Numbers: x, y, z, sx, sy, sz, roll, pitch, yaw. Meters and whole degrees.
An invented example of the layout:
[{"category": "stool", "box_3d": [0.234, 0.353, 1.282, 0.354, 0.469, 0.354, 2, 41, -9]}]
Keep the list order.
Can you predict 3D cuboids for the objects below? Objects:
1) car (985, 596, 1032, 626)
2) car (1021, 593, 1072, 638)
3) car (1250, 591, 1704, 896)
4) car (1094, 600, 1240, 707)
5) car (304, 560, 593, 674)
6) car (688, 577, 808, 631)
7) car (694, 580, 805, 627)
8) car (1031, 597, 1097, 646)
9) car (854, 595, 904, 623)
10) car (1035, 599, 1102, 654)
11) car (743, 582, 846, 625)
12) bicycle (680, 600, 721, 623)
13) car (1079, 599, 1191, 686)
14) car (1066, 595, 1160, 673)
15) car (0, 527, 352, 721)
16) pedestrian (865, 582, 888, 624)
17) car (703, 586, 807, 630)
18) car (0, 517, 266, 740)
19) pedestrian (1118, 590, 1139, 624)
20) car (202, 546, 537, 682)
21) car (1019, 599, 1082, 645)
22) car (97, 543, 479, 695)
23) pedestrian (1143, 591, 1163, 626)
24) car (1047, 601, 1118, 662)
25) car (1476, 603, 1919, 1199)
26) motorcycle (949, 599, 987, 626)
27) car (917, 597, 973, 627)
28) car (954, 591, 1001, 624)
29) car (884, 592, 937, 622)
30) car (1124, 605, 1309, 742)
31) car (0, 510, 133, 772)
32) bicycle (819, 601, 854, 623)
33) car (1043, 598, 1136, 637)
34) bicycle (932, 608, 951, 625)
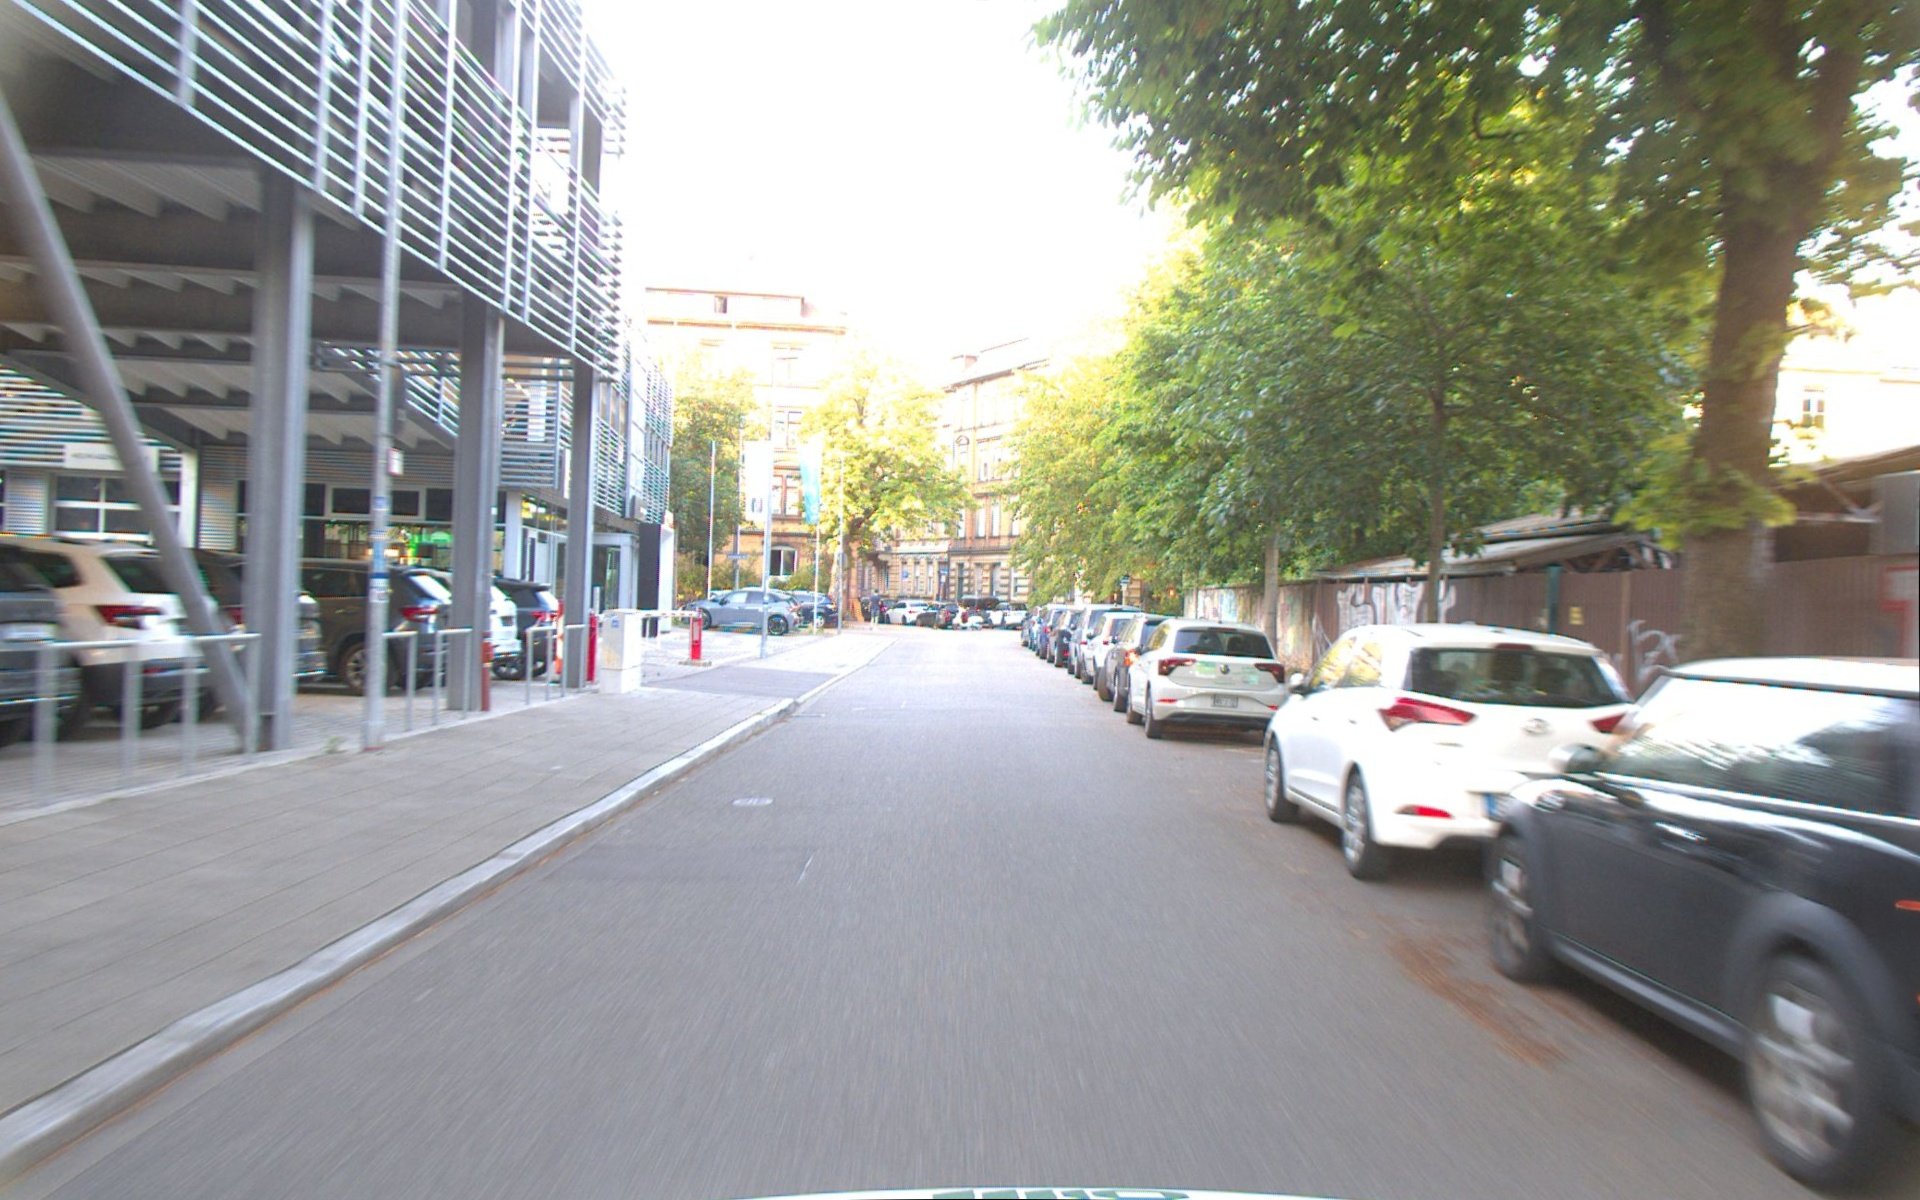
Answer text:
[{"category": "car", "box_3d": [2.772, 0.617, 94.833, 1.653, 1.552, 2.747, 2, 1, -24]}, {"category": "car", "box_3d": [3.273, 0.566, 63.223, 1.660, 1.598, 3.971, 2, 0, -1]}, {"category": "car", "box_3d": [3.146, 0.767, 10.949, 1.687, 1.546, 4.025, 2, 1, 0]}, {"category": "car", "box_3d": [3.193, 0.782, 26.223, 1.723, 1.480, 4.392, 2, 0, 0]}, {"category": "car", "box_3d": [-7.917, 0.288, 25.912, 3.907, 1.613, 1.859, 2, -2, -2]}, {"category": "car", "box_3d": [-7.589, 0.121, 59.492, 4.047, 1.646, 1.913, 4, 1, -2]}, {"category": "car", "box_3d": [-7.937, 0.116, 62.726, 3.985, 1.646, 1.765, 2, 1, -2]}, {"category": "car", "box_3d": [3.346, 0.683, 53.782, 1.661, 1.502, 3.557, 2, 0, -3]}, {"category": "car", "box_3d": [-4.844, 0.510, 98.645, 1.633, 1.456, 3.868, 2, 1, -24]}, {"category": "car", "box_3d": [3.175, 0.755, 48.891, 1.660, 1.502, 4.117, 2, 0, 0]}, {"category": "car", "box_3d": [-7.839, 0.168, 78.396, 4.736, 1.762, 1.918, 2, 1, -6]}, {"category": "bicycle", "box_3d": [-12.308, 0.554, 78.432, 1.831, 1.046, 0.442, 1, 1, -25]}, {"category": "car", "box_3d": [3.350, 0.778, 32.232, 1.723, 1.467, 3.874, 2, 1, 0]}, {"category": "car", "box_3d": [3.400, 0.726, 37.274, 1.723, 1.632, 3.873, 2, 0, 0]}, {"category": "car", "box_3d": [-8.299, 0.185, 16.147, 3.980, 1.713, 1.860, 2, 1, 1]}, {"category": "pedestrian", "box_3d": [-3.760, 0.144, 74.412, 0.724, 1.835, 1.115, 1, 1, -20]}, {"category": "car", "box_3d": [-8.268, 0.312, 66.916, 3.966, 1.501, 1.919, 4, 1, -4]}, {"category": "car", "box_3d": [-8.284, 0.168, 13.962, 4.018, 1.713, 1.860, 2, 1, 1]}, {"category": "pedestrian", "box_3d": [9.107, 0.370, 89.509, 0.828, 1.835, 0.771, 1, 1, -21]}, {"category": "car", "box_3d": [-8.219, 0.171, 23.284, 3.995, 1.713, 1.860, 2, 1, 1]}, {"category": "car", "box_3d": [3.142, 0.751, 58.188, 1.662, 1.502, 4.208, 2, 0, -5]}, {"category": "car", "box_3d": [-8.373, 0.211, 20.859, 4.003, 1.713, 1.860, 2, 1, 1]}, {"category": "pedestrian", "box_3d": [10.164, 0.443, 87.162, 0.760, 1.835, 0.840, 1, 1, -15]}, {"category": "car", "box_3d": [3.231, 0.817, 44.136, 1.564, 1.502, 3.773, 2, 0, 0]}, {"category": "car", "box_3d": [3.120, 0.803, 5.729, 1.531, 1.475, 3.453, 2, 1, 0]}, {"category": "motorcycle", "box_3d": [0.407, 0.672, 86.485, 1.897, 1.364, 0.576, 1, 1, -11]}, {"category": "car", "box_3d": [-0.844, 0.639, 89.784, 1.633, 1.456, 3.962, 2, 1, -24]}, {"category": "car", "box_3d": [1.045, 0.443, 98.316, 1.653, 1.813, 2.993, 2, 1, -24]}, {"category": "car", "box_3d": [-2.858, 0.383, 94.362, 1.631, 1.456, 4.140, 2, 1, -22]}, {"category": "car", "box_3d": [3.191, 0.861, 21.313, 1.723, 1.467, 4.006, 2, 1, 0]}, {"category": "car", "box_3d": [-8.251, 0.197, 11.506, 4.018, 1.713, 1.860, 2, 1, 1]}, {"category": "bicycle", "box_3d": [-6.050, 0.608, 81.033, 1.650, 1.046, 0.442, 1, 1, -25]}, {"category": "car", "box_3d": [5.489, 0.746, 70.040, 1.849, 1.492, 3.945, 3, 1, 43]}, {"category": "bicycle", "box_3d": [-0.923, 0.816, 84.367, 0.416, 0.836, 1.462, 2, 1, 22]}]
